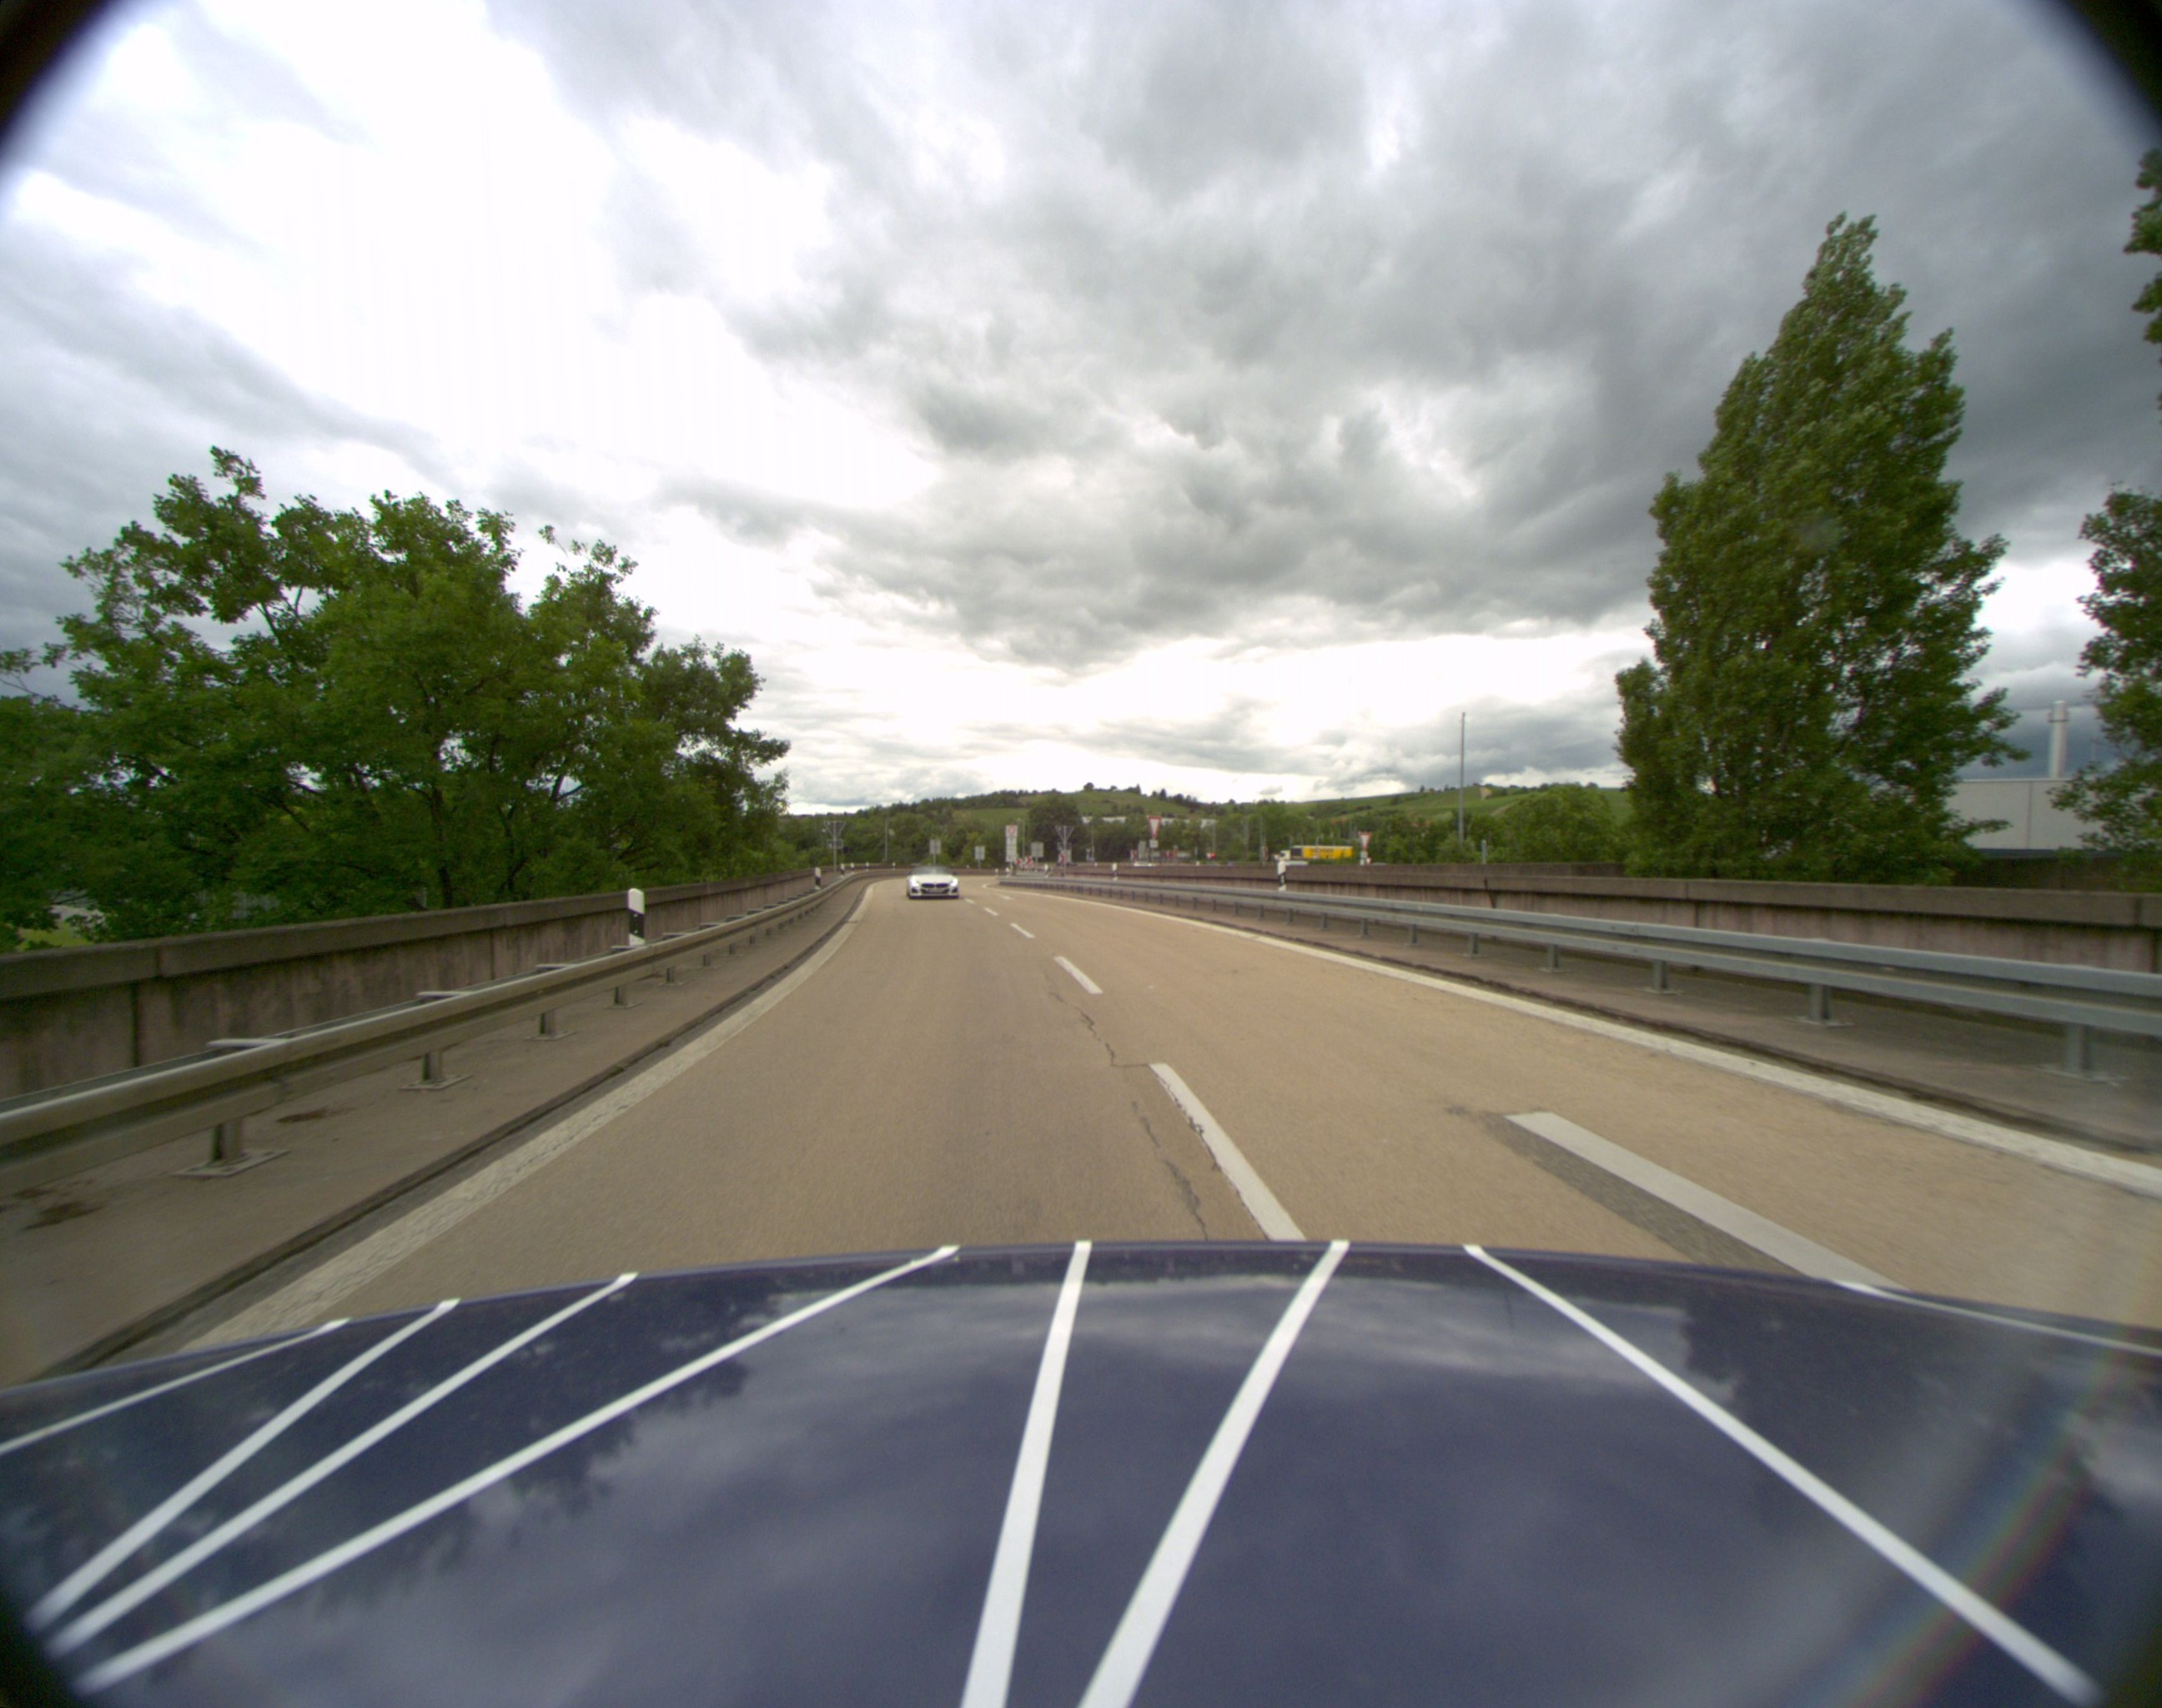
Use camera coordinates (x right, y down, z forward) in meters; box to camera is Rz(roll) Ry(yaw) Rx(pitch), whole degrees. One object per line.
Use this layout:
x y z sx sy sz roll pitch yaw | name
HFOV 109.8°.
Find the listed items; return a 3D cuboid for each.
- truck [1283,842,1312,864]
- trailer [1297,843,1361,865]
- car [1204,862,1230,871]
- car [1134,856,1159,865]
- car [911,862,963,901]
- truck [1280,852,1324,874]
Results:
43.425 -0.226 152.477 5.087 4.181 2.640 1 3 34 | truck
48.569 -0.079 149.076 11.622 4.181 2.640 1 3 34 | trailer
25.677 2.365 143.401 4.283 1.548 1.951 0 2 32 | car
13.140 1.299 152.285 4.703 1.552 1.881 0 2 26 | car
-5.751 1.040 30.262 1.864 1.337 4.819 0 0 -11 | car
34.167 1.379 117.473 7.006 3.244 2.347 0 0 -31 | truck
